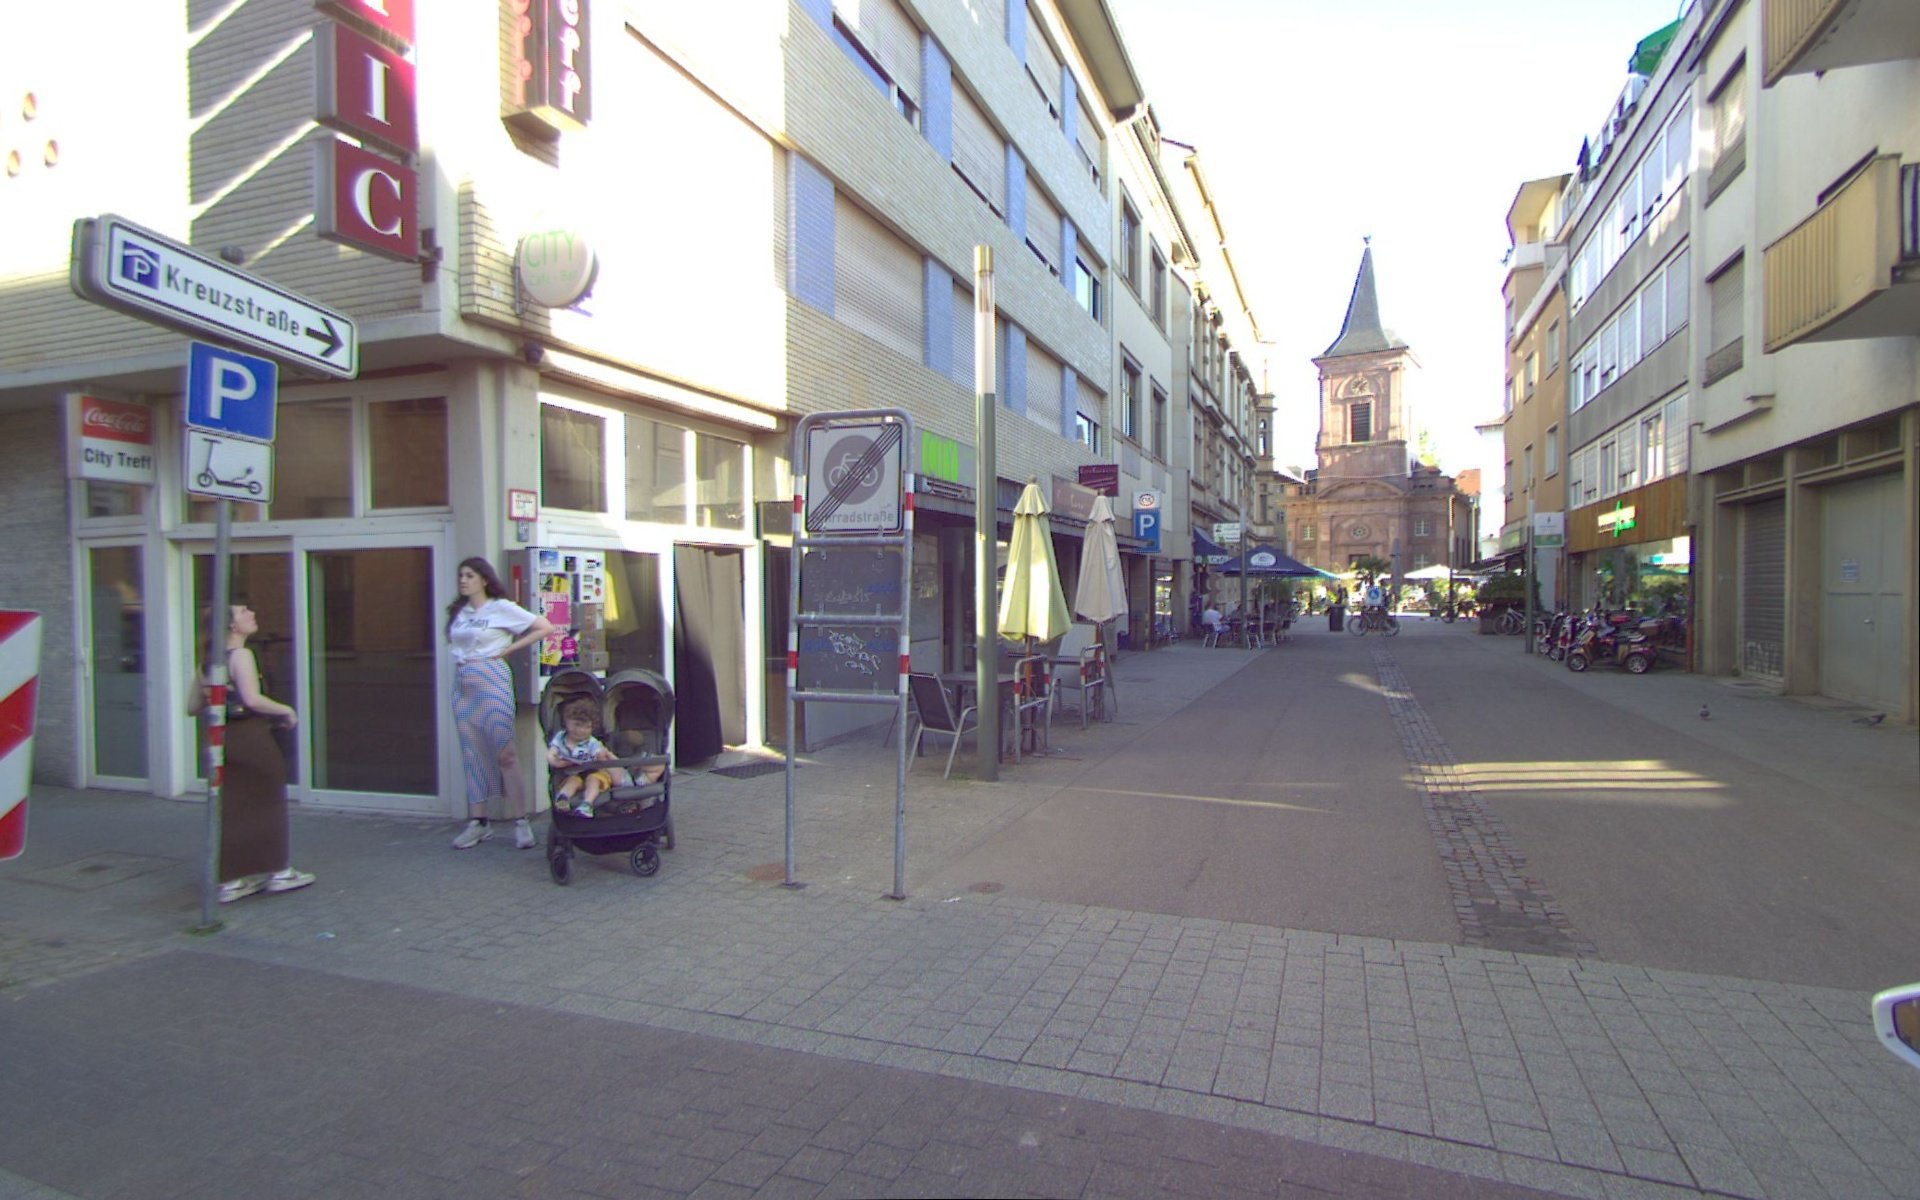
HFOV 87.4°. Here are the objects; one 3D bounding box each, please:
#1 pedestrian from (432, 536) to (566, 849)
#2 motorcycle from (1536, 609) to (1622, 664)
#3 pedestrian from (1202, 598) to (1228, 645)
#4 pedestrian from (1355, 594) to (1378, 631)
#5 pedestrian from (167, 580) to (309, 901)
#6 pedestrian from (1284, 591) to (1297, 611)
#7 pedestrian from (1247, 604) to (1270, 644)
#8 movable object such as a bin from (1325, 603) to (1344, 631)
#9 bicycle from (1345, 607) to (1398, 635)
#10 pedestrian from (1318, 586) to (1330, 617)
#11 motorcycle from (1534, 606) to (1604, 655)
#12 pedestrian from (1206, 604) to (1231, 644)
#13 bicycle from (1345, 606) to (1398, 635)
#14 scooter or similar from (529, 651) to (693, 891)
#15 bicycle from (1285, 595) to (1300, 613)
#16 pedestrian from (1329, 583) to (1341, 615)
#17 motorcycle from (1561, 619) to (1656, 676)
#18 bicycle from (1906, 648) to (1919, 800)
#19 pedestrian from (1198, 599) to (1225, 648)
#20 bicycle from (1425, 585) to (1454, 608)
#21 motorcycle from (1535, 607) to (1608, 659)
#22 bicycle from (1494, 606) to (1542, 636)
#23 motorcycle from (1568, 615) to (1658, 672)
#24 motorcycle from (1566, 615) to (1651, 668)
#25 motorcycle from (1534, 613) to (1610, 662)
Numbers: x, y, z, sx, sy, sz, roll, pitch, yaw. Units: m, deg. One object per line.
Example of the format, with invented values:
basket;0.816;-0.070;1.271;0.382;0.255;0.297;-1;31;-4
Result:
pedestrian;-2.894;0.528;6.307;0.652;1.844;0.566;-3;4;-29
motorcycle;13.984;0.800;22.706;1.605;1.191;0.478;0;1;40
pedestrian;7.682;0.649;30.247;0.705;1.386;0.710;0;1;10
pedestrian;16.759;0.495;41.421;0.869;1.484;0.730;1;1;22
pedestrian;-3.857;0.706;5.406;0.505;1.601;0.529;-3;4;-32
pedestrian;20.885;0.070;63.466;0.690;1.234;0.718;1;1;28
pedestrian;9.468;0.753;31.895;0.680;1.231;0.583;0;1;14
movable object such as a bin;15.185;0.680;40.751;0.709;1.089;0.374;0;1;21
bicycle;15.223;0.772;37.162;1.793;1.018;0.381;1;1;19
pedestrian;21.410;0.082;59.155;0.604;1.833;0.615;1;1;18
motorcycle;15.202;0.745;25.104;1.465;1.197;0.410;0;1;37
pedestrian;8.190;0.747;31.872;0.752;1.249;0.831;0;1;14
bicycle;15.369;0.762;37.549;1.793;1.018;0.381;1;1;19
scooter or similar;-2.036;0.919;5.811;0.788;1.159;0.947;0;2;-26
bicycle;16.605;0.199;50.133;0.449;0.861;2.144;1;1;25
pedestrian;21.743;-0.069;58.252;0.604;1.833;0.615;1;1;18
motorcycle;12.811;0.917;19.864;1.545;1.055;0.371;0;1;40
bicycle;7.285;0.950;7.050;0.439;1.155;1.708;1;0;27
pedestrian;7.326;0.681;29.272;0.696;1.386;0.720;0;1;10
bicycle;28.411;-0.210;59.544;1.562;1.325;0.365;0;1;-7
motorcycle;14.627;0.775;24.047;1.465;1.197;0.410;0;1;37
bicycle;19.493;0.719;35.124;1.441;1.018;0.572;1;1;29
motorcycle;13.283;0.868;20.453;1.499;1.090;0.410;0;1;40
motorcycle;13.791;0.867;21.381;1.466;1.090;0.410;0;1;40
motorcycle;14.230;0.852;23.360;1.466;1.090;0.410;0;1;40
